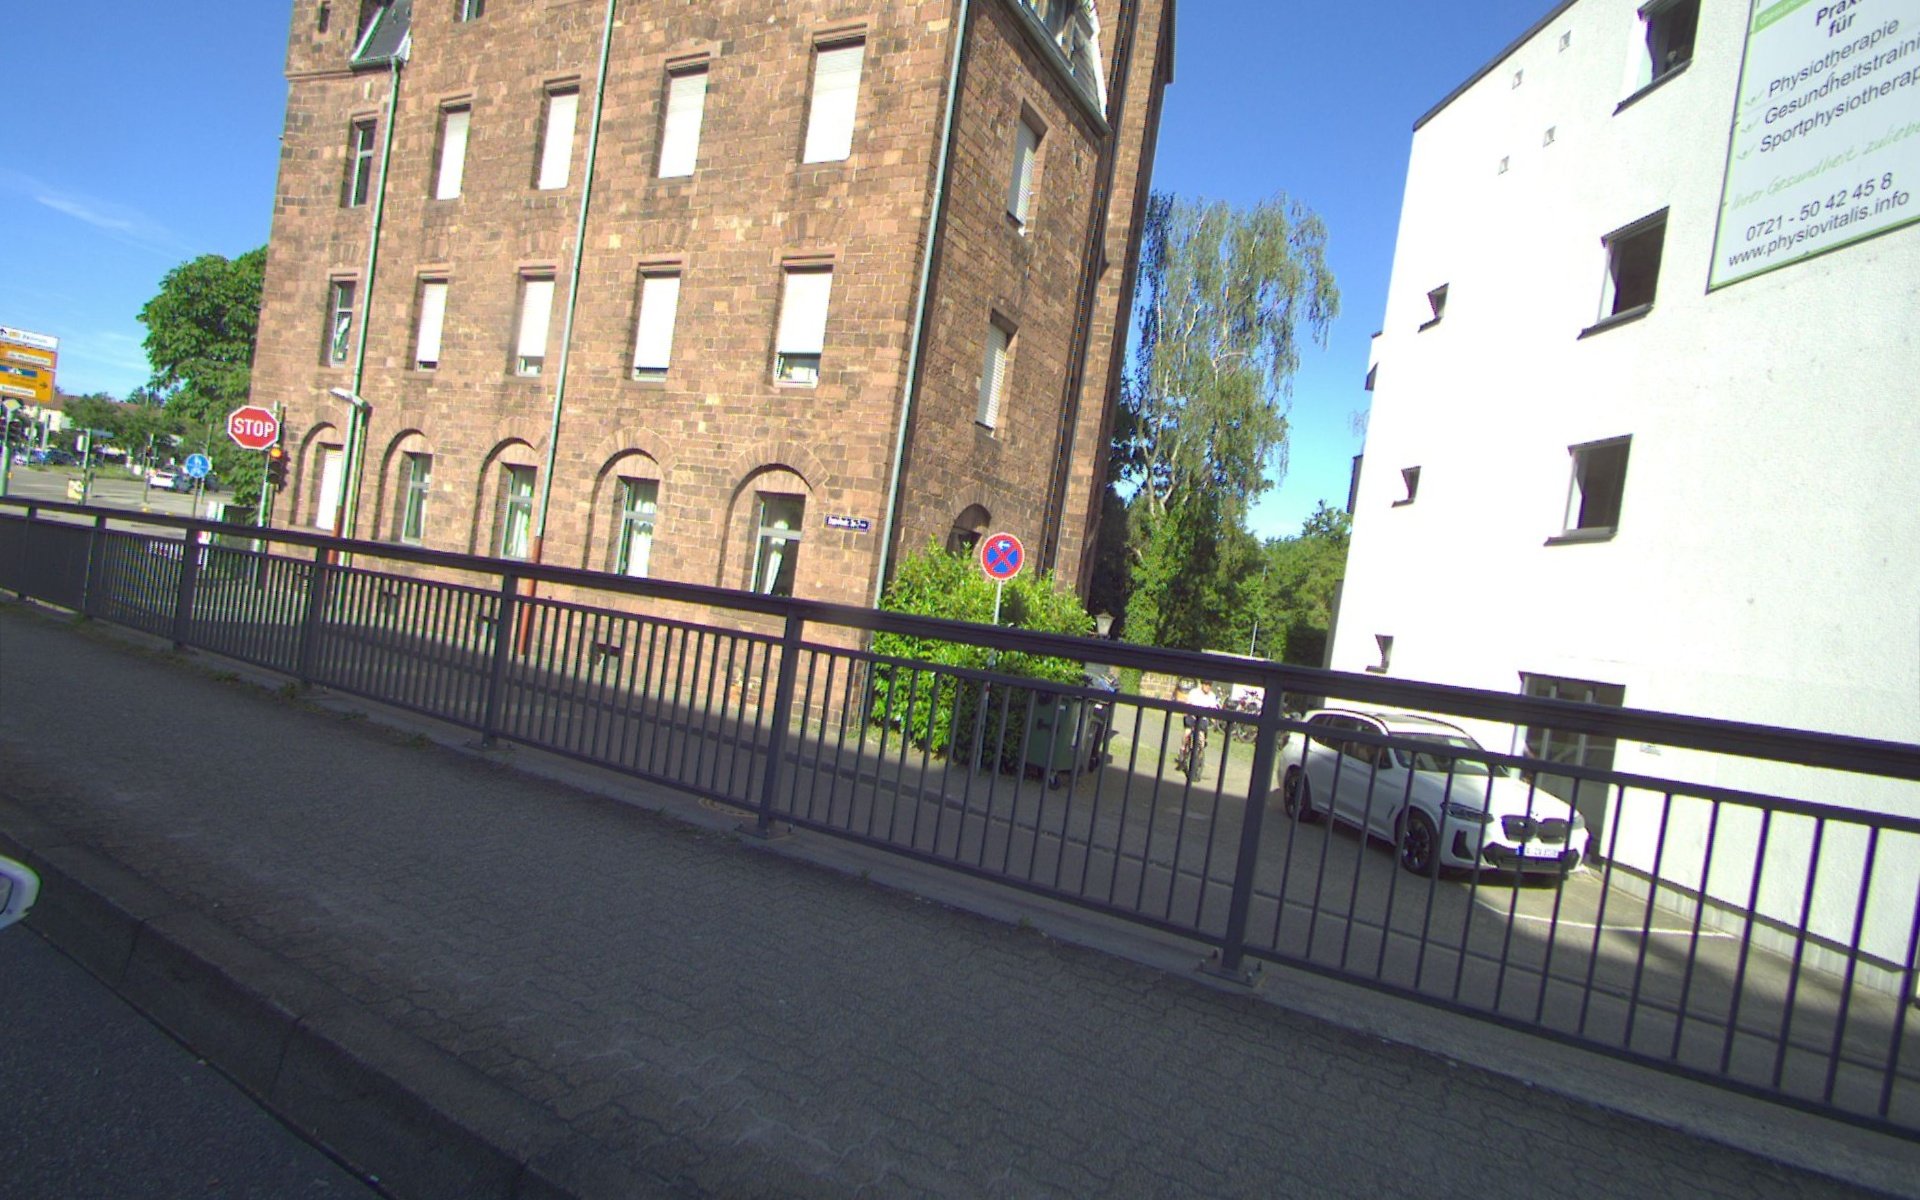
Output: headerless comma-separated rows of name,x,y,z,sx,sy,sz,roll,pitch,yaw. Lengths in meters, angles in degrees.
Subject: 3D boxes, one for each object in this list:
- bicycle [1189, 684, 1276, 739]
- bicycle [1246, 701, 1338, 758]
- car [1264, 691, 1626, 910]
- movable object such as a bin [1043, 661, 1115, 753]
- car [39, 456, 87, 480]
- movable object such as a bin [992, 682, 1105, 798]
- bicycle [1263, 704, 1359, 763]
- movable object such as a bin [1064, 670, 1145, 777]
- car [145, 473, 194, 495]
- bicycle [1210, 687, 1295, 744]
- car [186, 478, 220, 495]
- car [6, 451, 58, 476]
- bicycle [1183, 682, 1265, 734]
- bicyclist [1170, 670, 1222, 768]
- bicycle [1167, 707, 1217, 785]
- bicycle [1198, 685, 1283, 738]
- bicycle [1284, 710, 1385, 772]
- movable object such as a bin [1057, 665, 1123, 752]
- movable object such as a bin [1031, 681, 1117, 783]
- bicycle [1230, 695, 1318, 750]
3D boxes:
bicycle,7.414,3.027,27.375,2.075,1.174,0.664,8,1,-9
bicycle,7.981,3.114,24.247,1.889,1.065,0.664,8,1,-6
car,5.971,2.404,13.166,1.814,1.707,4.521,8,0,-9
movable object such as a bin,2.292,2.017,19.264,1.009,1.539,1.007,9,0,14
car,-82.304,-12.097,92.346,1.860,1.598,3.978,8,1,-22
movable object such as a bin,1.199,1.852,13.514,1.011,1.307,1.005,10,0,29
bicycle,8.136,3.094,23.359,1.889,1.065,0.664,8,1,-6
movable object such as a bin,2.408,2.016,16.657,1.009,1.539,1.007,9,0,14
car,-65.995,-9.685,84.065,1.974,1.382,4.288,8,2,-23
bicycle,7.675,3.025,26.442,1.889,1.174,0.664,8,1,-6
car,-78.469,-11.740,104.297,1.864,1.311,4.561,8,2,-26
car,-79.885,-11.734,86.644,1.860,1.598,3.978,8,1,-22
bicycle,7.672,3.135,29.260,2.075,1.174,0.664,8,1,-9
bicyclist,4.274,2.138,18.236,0.675,1.627,0.697,9,0,13
bicycle,4.208,2.608,18.263,0.677,1.154,1.841,9,-1,13
bicycle,7.915,3.134,28.407,2.075,1.174,0.664,8,1,-9
bicycle,8.341,3.138,22.445,1.889,1.065,0.664,8,1,-6
movable object such as a bin,2.653,2.183,20.453,1.009,1.539,1.007,9,0,14
movable object such as a bin,1.767,1.999,15.476,1.009,1.307,1.007,10,0,14
bicycle,7.877,3.082,25.275,1.889,1.065,0.664,8,1,-6
